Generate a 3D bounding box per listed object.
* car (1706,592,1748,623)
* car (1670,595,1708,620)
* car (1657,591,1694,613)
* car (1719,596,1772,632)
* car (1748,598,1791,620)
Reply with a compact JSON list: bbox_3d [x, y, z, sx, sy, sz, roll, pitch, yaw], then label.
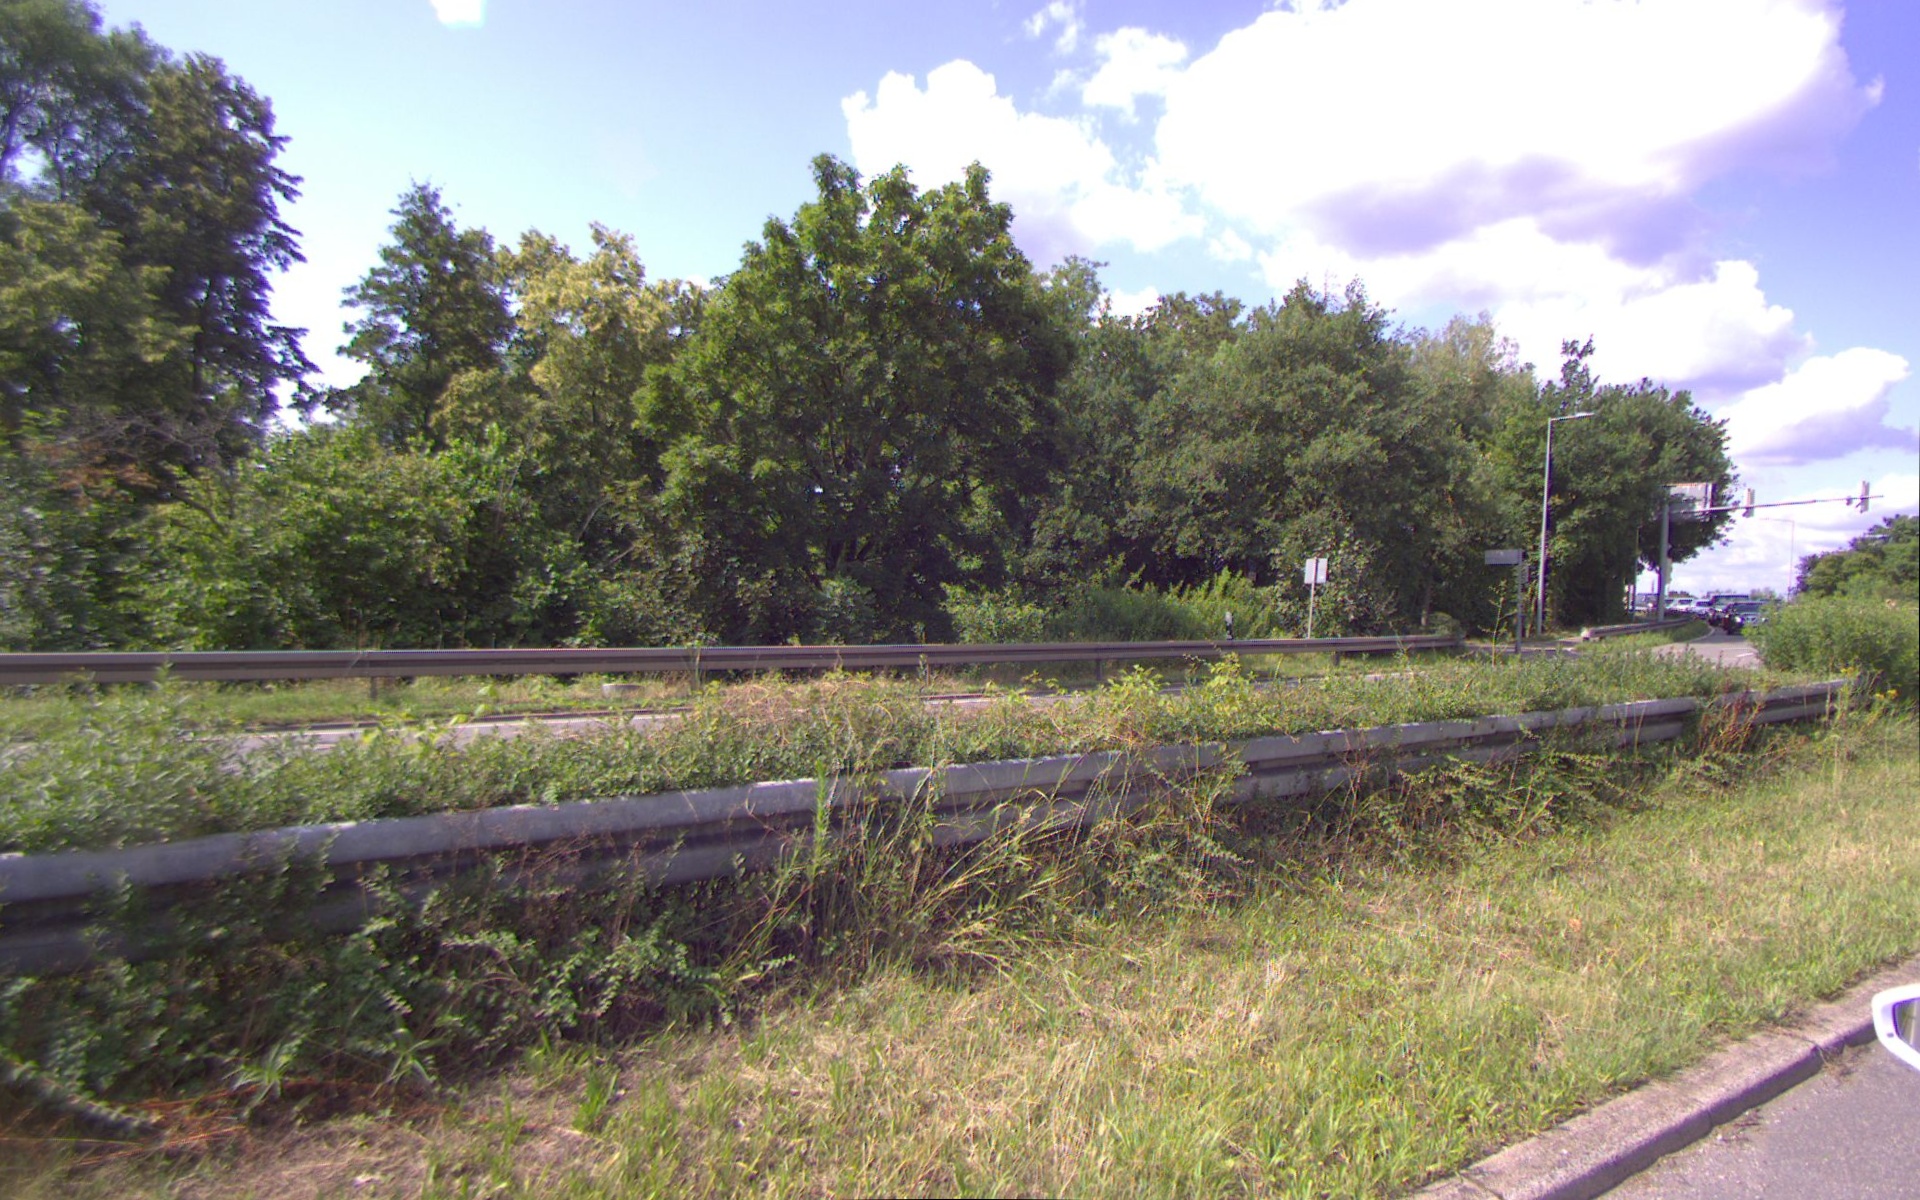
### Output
[{"bbox_3d":[46.437,0.432,60.854,1.819,1.826,4.312,1,1,35],"label":"car"},{"bbox_3d":[54.106,0.535,74.627,1.816,1.728,4.317,1,1,30],"label":"car"},{"bbox_3d":[57.689,0.139,81.098,1.815,1.728,4.320,1,0,28],"label":"car"},{"bbox_3d":[37.967,0.683,48.624,1.814,1.639,3.987,1,-1,35],"label":"car"},{"bbox_3d":[56.016,0.637,69.541,1.920,1.437,3.958,2,1,34],"label":"car"}]
